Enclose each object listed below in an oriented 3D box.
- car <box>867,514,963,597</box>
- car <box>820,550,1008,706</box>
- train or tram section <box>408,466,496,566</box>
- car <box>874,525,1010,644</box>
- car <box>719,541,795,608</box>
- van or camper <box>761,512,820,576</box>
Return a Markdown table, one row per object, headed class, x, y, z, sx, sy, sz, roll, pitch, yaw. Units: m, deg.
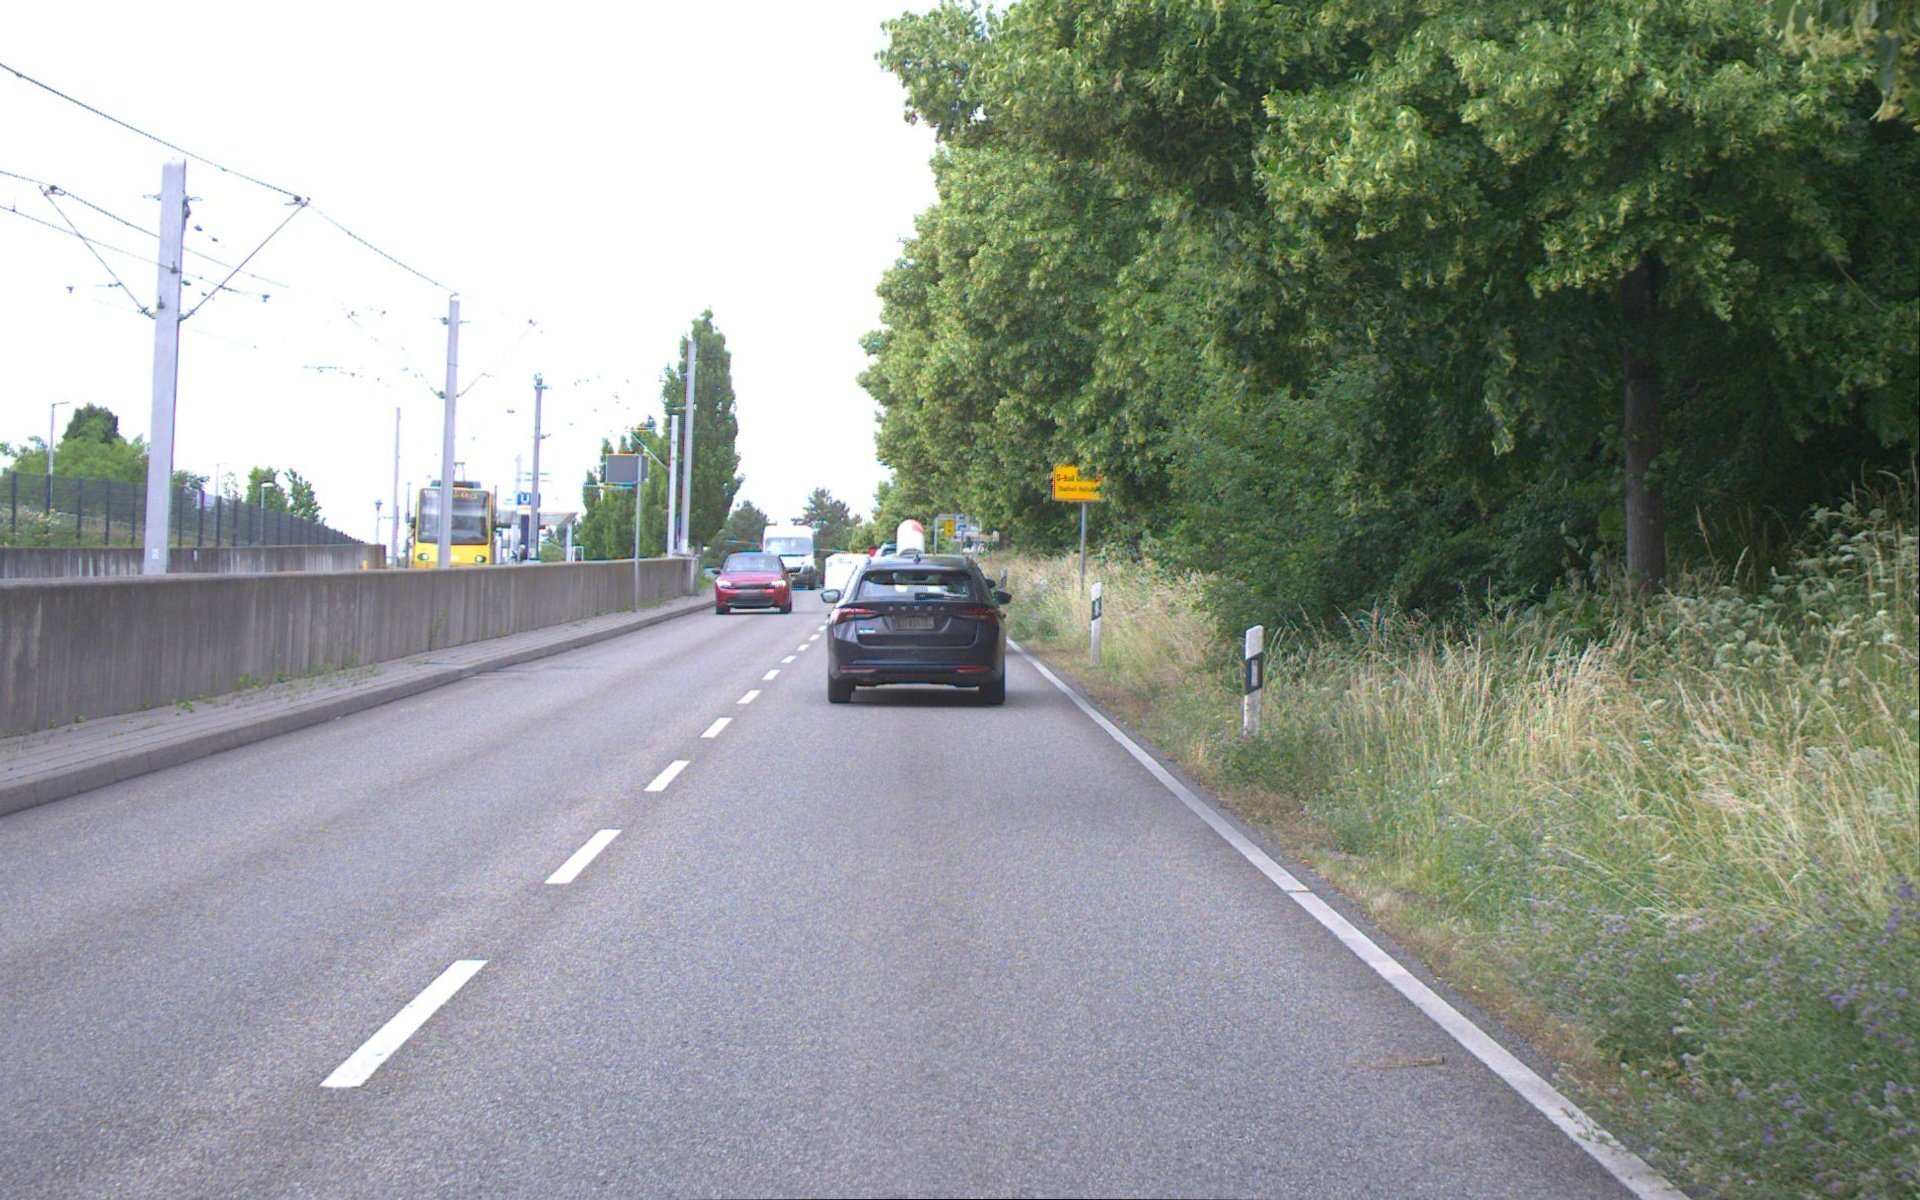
| class | x | y | z | sx | sy | sz | roll | pitch | yaw |
| --- | --- | --- | --- | --- | --- | --- | --- | --- | --- |
| car | -0.975 | -0.944 | 74.305 | 1.993 | 1.734 | 4.000 | 0 | 0 | -1 |
| car | -0.467 | 0.236 | 34.706 | 1.781 | 1.463 | 4.000 | 0 | 1 | -1 |
| train or tram section | -18.047 | -2.828 | 121.278 | 2.811 | 3.106 | 18.920 | 0 | 0 | -9 |
| car | -0.294 | -0.269 | 52.501 | 1.993 | 1.747 | 4.000 | 0 | 1 | -1 |
| car | -4.774 | -0.629 | 81.266 | 1.662 | 1.540 | 3.953 | 0 | 1 | -1 |
| van or camper | -6.516 | -2.159 | 132.987 | 2.082 | 2.388 | 6.138 | 1 | 1 | -1 |
